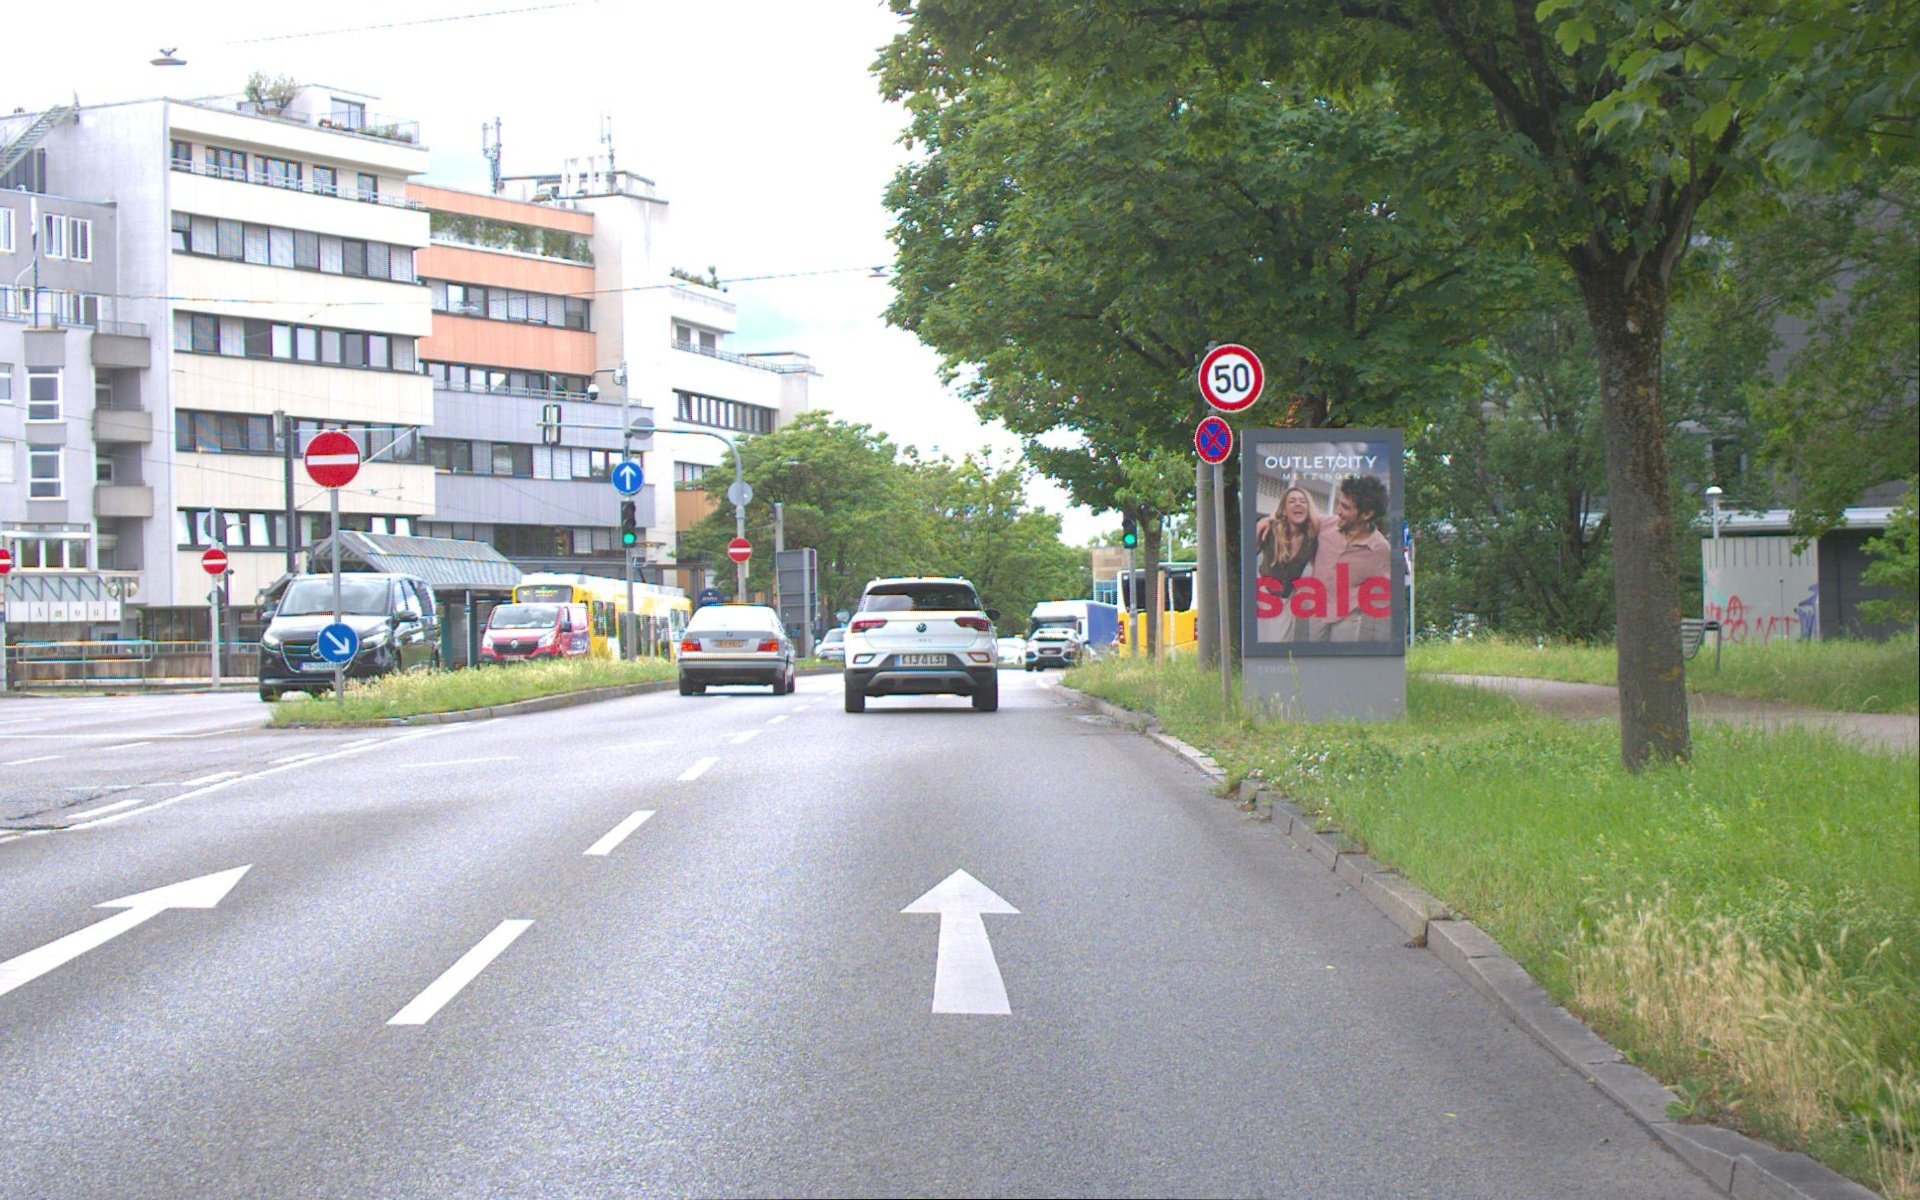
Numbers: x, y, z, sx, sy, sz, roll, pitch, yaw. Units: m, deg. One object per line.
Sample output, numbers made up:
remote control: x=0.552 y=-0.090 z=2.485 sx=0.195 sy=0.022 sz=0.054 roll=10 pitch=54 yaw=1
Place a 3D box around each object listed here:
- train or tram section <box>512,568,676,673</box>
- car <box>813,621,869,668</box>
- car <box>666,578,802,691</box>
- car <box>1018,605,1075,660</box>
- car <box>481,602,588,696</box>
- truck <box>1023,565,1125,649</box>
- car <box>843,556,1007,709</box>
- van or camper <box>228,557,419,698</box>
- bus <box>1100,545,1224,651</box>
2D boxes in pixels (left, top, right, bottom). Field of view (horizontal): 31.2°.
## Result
train or tram section: x=-12.495 y=0.761 z=118.781 sx=2.560 sy=3.399 sz=13.077 roll=-1 pitch=-1 yaw=8
car: x=-3.842 y=1.456 z=111.350 sx=1.614 sy=1.441 sz=3.652 roll=-1 pitch=-1 yaw=0
car: x=-3.463 y=0.502 z=53.153 sx=1.700 sy=1.510 sz=3.736 roll=-1 pitch=3 yaw=2
car: x=2.822 y=1.053 z=113.325 sx=1.770 sy=1.565 sz=4.285 roll=-1 pitch=2 yaw=0
car: x=-10.433 y=1.174 z=84.635 sx=1.993 sy=2.006 sz=4.835 roll=1 pitch=2 yaw=0
truck: x=5.976 y=0.396 z=176.888 sx=2.955 sy=4.066 sz=16.594 roll=0 pitch=0 yaw=10
car: x=-0.369 y=0.341 z=40.607 sx=1.700 sy=1.543 sz=3.736 roll=2 pitch=2 yaw=2
van or camper: x=-9.171 y=0.391 z=49.930 sx=1.926 sy=1.931 sz=5.248 roll=0 pitch=0 yaw=-2
bus: x=6.478 y=-0.015 z=108.624 sx=2.955 sy=3.180 sz=9.924 roll=0 pitch=0 yaw=9
